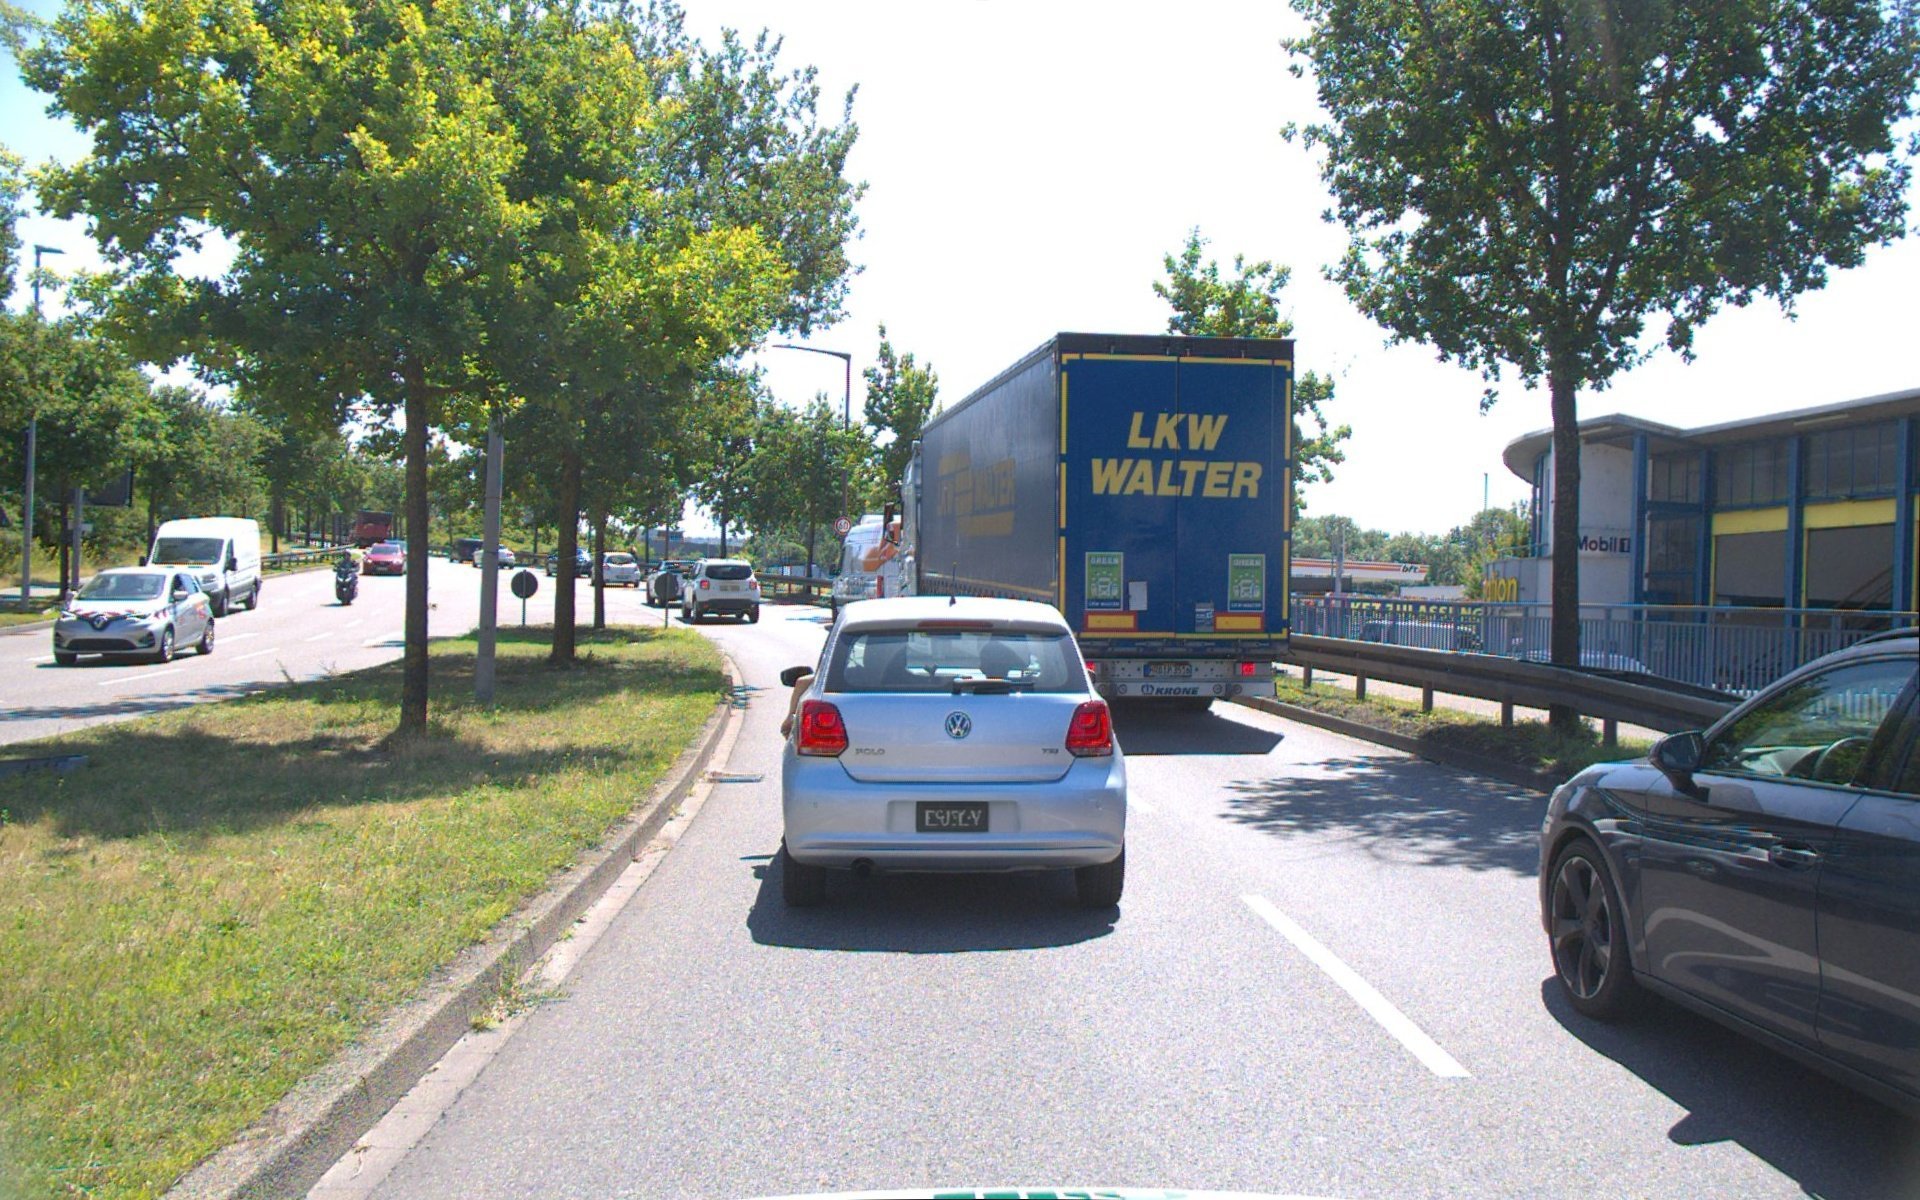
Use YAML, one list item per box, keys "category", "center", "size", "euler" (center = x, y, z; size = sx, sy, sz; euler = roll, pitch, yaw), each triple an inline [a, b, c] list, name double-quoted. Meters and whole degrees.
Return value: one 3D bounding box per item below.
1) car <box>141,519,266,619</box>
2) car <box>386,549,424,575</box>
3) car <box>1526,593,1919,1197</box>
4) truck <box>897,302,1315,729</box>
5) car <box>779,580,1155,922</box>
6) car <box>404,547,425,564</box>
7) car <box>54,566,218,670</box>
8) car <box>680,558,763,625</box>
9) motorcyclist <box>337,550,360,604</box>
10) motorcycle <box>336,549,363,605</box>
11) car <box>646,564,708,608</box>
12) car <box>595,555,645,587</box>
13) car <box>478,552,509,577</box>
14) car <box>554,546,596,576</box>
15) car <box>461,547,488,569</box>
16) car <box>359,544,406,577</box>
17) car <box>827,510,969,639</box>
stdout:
- category: "car"
  center: [-20.518, -0.881, 45.135]
  size: [2.059, 2.544, 5.788]
  euler: [0, 2, -14]
- category: "car"
  center: [-31.742, -2.142, 94.700]
  size: [1.780, 1.357, 4.550]
  euler: [1, 0, -15]
- category: "car"
  center: [3.132, 0.738, 4.418]
  size: [1.573, 1.481, 4.232]
  euler: [1, 0, -3]
- category: "truck"
  center: [1.201, -0.952, 24.990]
  size: [2.779, 4.271, 16.448]
  euler: [1, 1, -7]
- category: "car"
  center: [-0.011, 0.661, 8.972]
  size: [1.613, 1.464, 3.536]
  euler: [1, 0, -2]
- category: "car"
  center: [-41.683, -3.406, 126.363]
  size: [1.303, 1.158, 2.976]
  euler: [1, 0, -21]
- category: "car"
  center: [-14.053, 0.243, 28.420]
  size: [1.606, 1.594, 4.059]
  euler: [0, 2, -13]
- category: "car"
  center: [-6.703, -0.228, 46.172]
  size: [1.871, 1.748, 4.208]
  euler: [1, 0, -14]
- category: "motorcyclist"
  center: [-19.099, -0.706, 51.663]
  size: [0.577, 1.655, 0.560]
  euler: [1, 0, -16]
- category: "motorcycle"
  center: [-19.096, -0.714, 51.736]
  size: [0.588, 1.707, 2.414]
  euler: [1, 0, -16]
- category: "car"
  center: [-9.403, -0.478, 54.729]
  size: [1.471, 1.383, 3.643]
  euler: [1, 1, -18]
- category: "car"
  center: [-15.106, -1.295, 73.347]
  size: [1.585, 1.383, 3.640]
  euler: [1, 1, -21]
- category: "car"
  center: [-27.299, -2.066, 96.807]
  size: [1.435, 1.337, 3.616]
  euler: [1, 0, -20]
- category: "car"
  center: [-19.898, -1.996, 85.348]
  size: [1.641, 1.490, 3.559]
  euler: [1, 0, -20]
- category: "car"
  center: [-31.641, -2.750, 107.769]
  size: [1.397, 1.337, 3.317]
  euler: [1, 0, -20]
- category: "car"
  center: [-27.595, -1.867, 79.135]
  size: [1.801, 1.462, 4.506]
  euler: [-1, 0, -16]
- category: "car"
  center: [-1.680, -0.694, 41.540]
  size: [2.140, 2.951, 6.333]
  euler: [1, 2, -15]
